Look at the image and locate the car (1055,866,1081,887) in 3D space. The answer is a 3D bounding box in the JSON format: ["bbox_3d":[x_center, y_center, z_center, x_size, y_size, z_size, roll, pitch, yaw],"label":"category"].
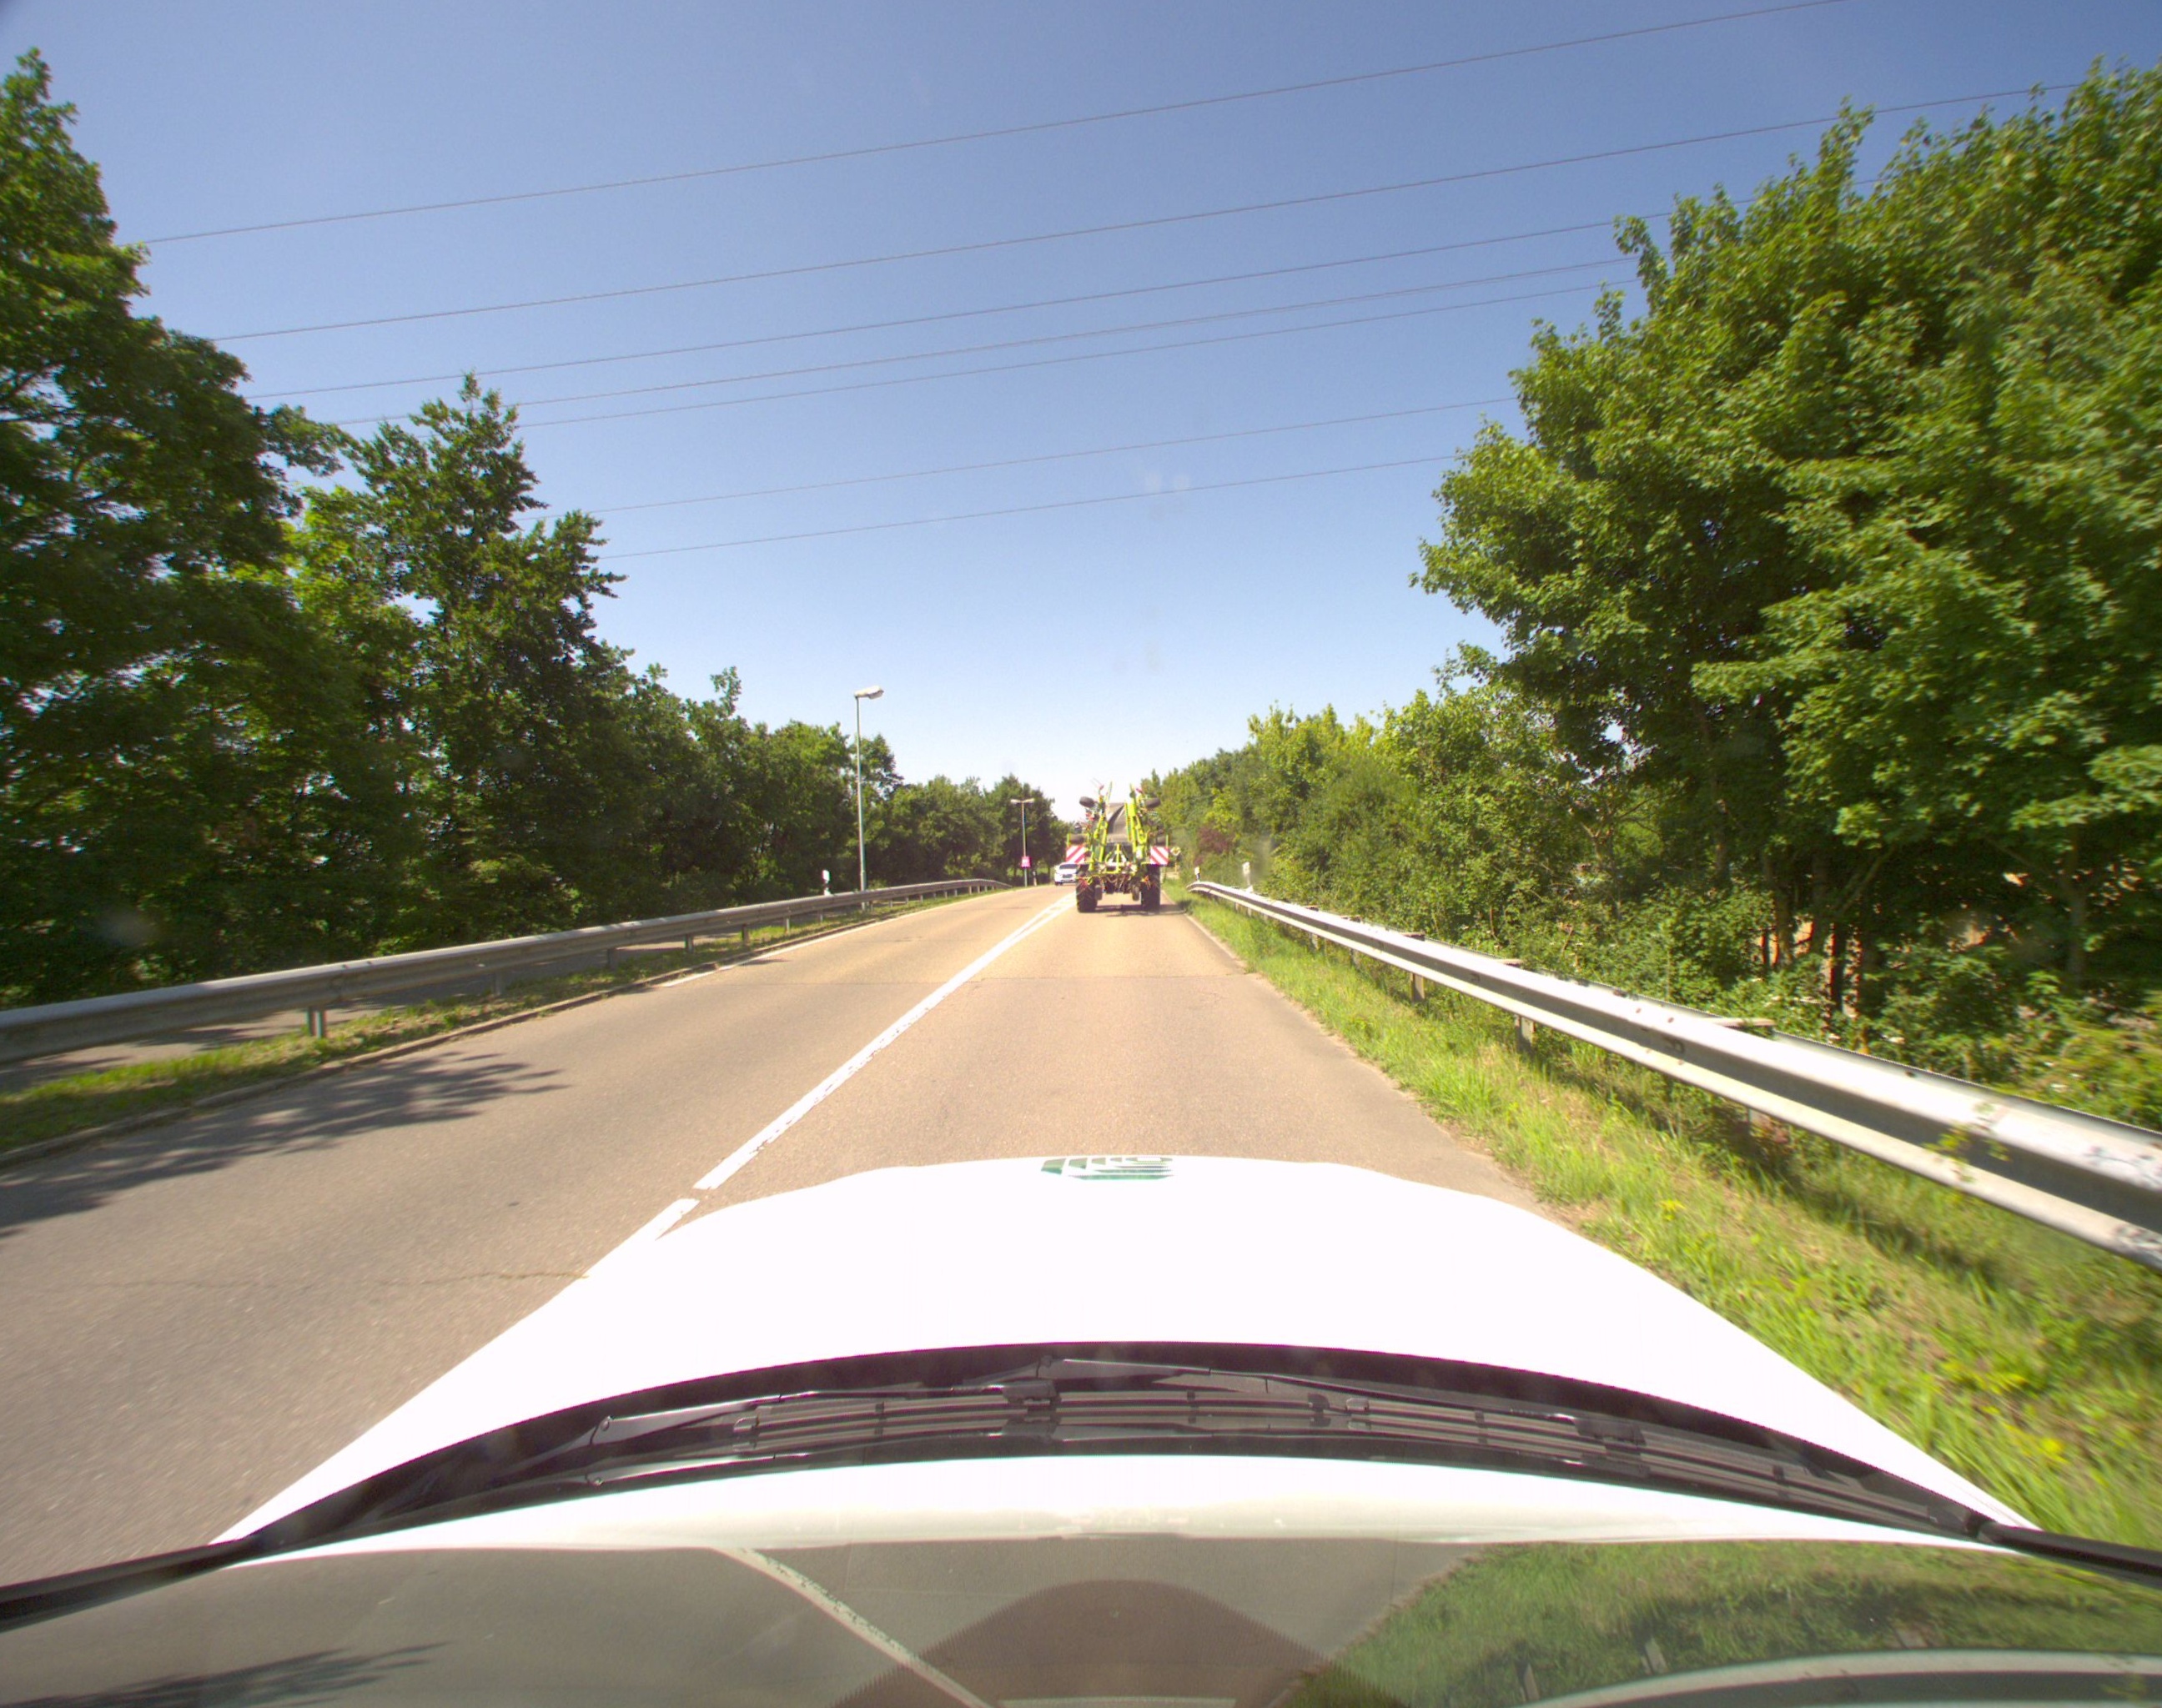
[{"bbox_3d":[-0.933,1.593,58.819,1.733,1.376,4.000,-1,-1,1],"label":"car"}]

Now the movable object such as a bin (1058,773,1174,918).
[{"bbox_3d":[0.984,-0.172,22.443,2.744,3.444,5.673,-1,-1,3],"label":"movable object such as a bin"}]
